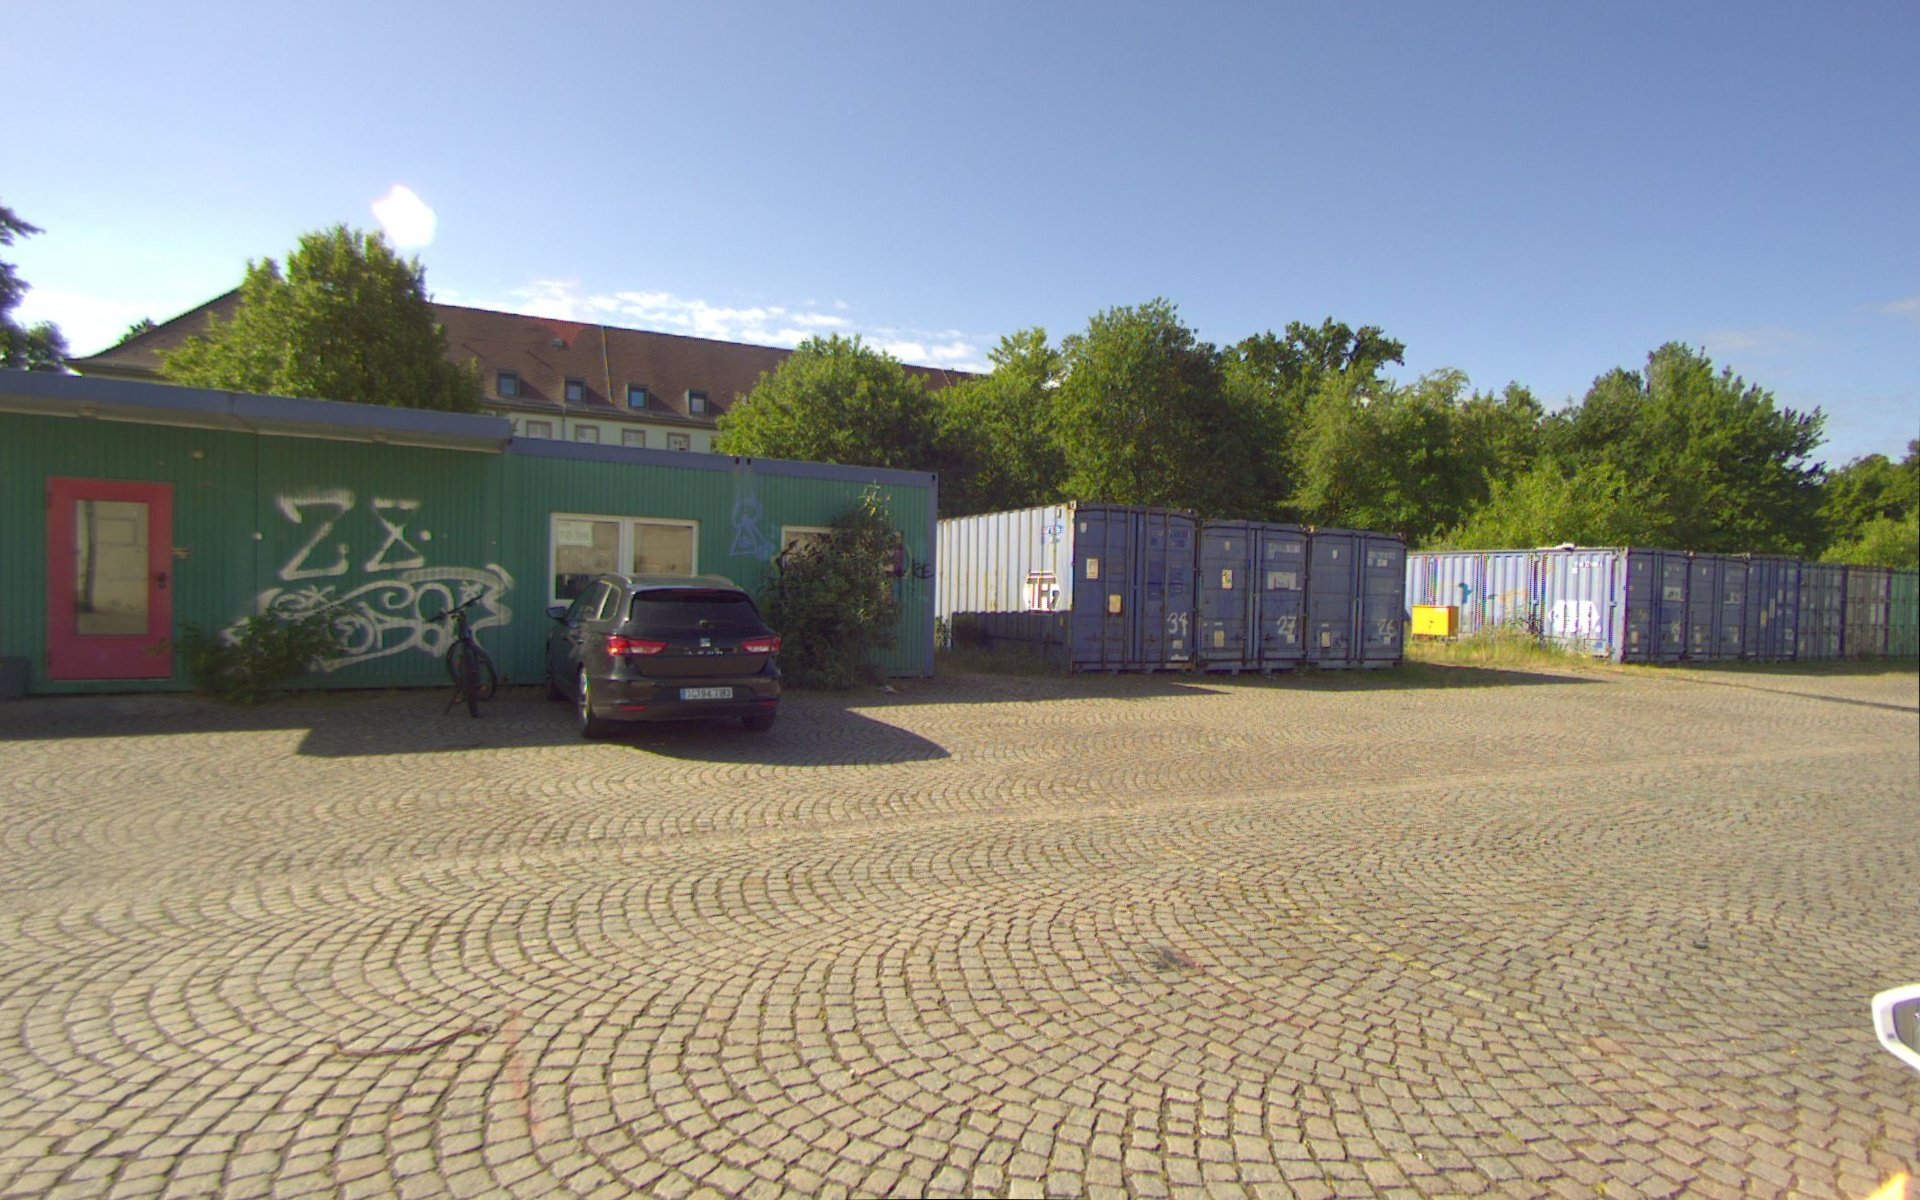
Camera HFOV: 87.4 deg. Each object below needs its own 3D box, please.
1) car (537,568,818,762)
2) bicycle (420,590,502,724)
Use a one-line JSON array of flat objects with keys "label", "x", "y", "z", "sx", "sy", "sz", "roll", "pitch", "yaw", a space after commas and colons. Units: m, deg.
[{"label": "car", "x": -3.043, "y": 0.469, "z": 10.099, "sx": 1.907, "sy": 1.469, "sz": 4.235, "roll": 2, "pitch": 1, "yaw": -27}, {"label": "bicycle", "x": -5.055, "y": 0.526, "z": 10.160, "sx": 0.660, "sy": 1.186, "sz": 1.796, "roll": 2, "pitch": 1, "yaw": -27}]
